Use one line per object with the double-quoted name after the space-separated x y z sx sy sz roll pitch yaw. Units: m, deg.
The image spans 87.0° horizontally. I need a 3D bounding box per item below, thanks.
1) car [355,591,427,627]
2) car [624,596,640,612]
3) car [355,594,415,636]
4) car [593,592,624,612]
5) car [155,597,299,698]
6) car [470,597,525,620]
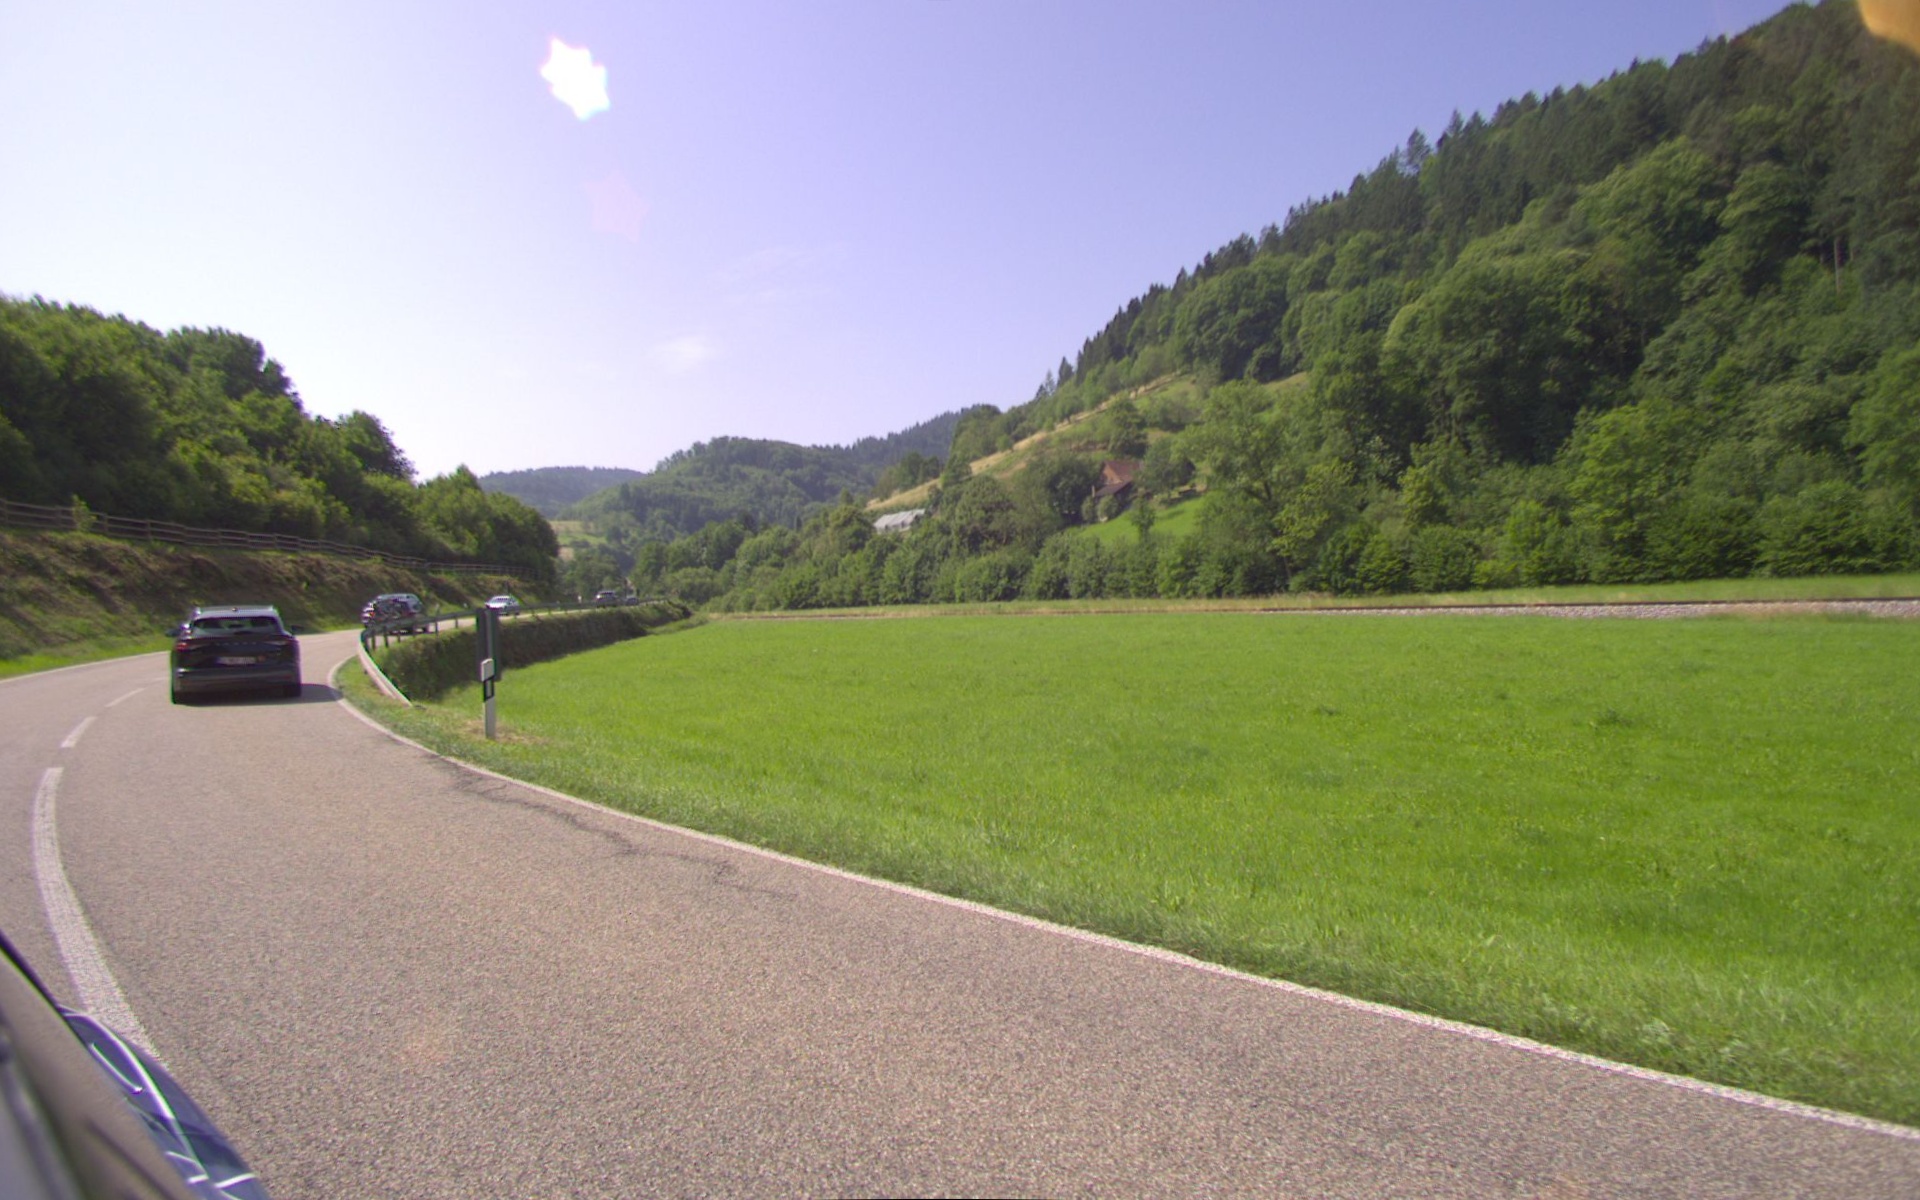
-30.941 0.504 55.172 2.085 1.828 4.465 -3 -1 -11 "car"
-42.470 0.501 131.066 1.966 2.028 4.013 -2 2 -17 "car"
-25.433 0.632 44.899 1.922 1.753 4.912 0 0 -25 "car"
-32.591 0.155 93.913 1.687 1.687 4.004 -3 1 -5 "car"
-13.125 0.786 18.367 1.850 1.599 4.608 1 -1 -33 "car"
-33.255 0.596 72.888 2.115 1.502 4.677 -1 0 -4 "car"
